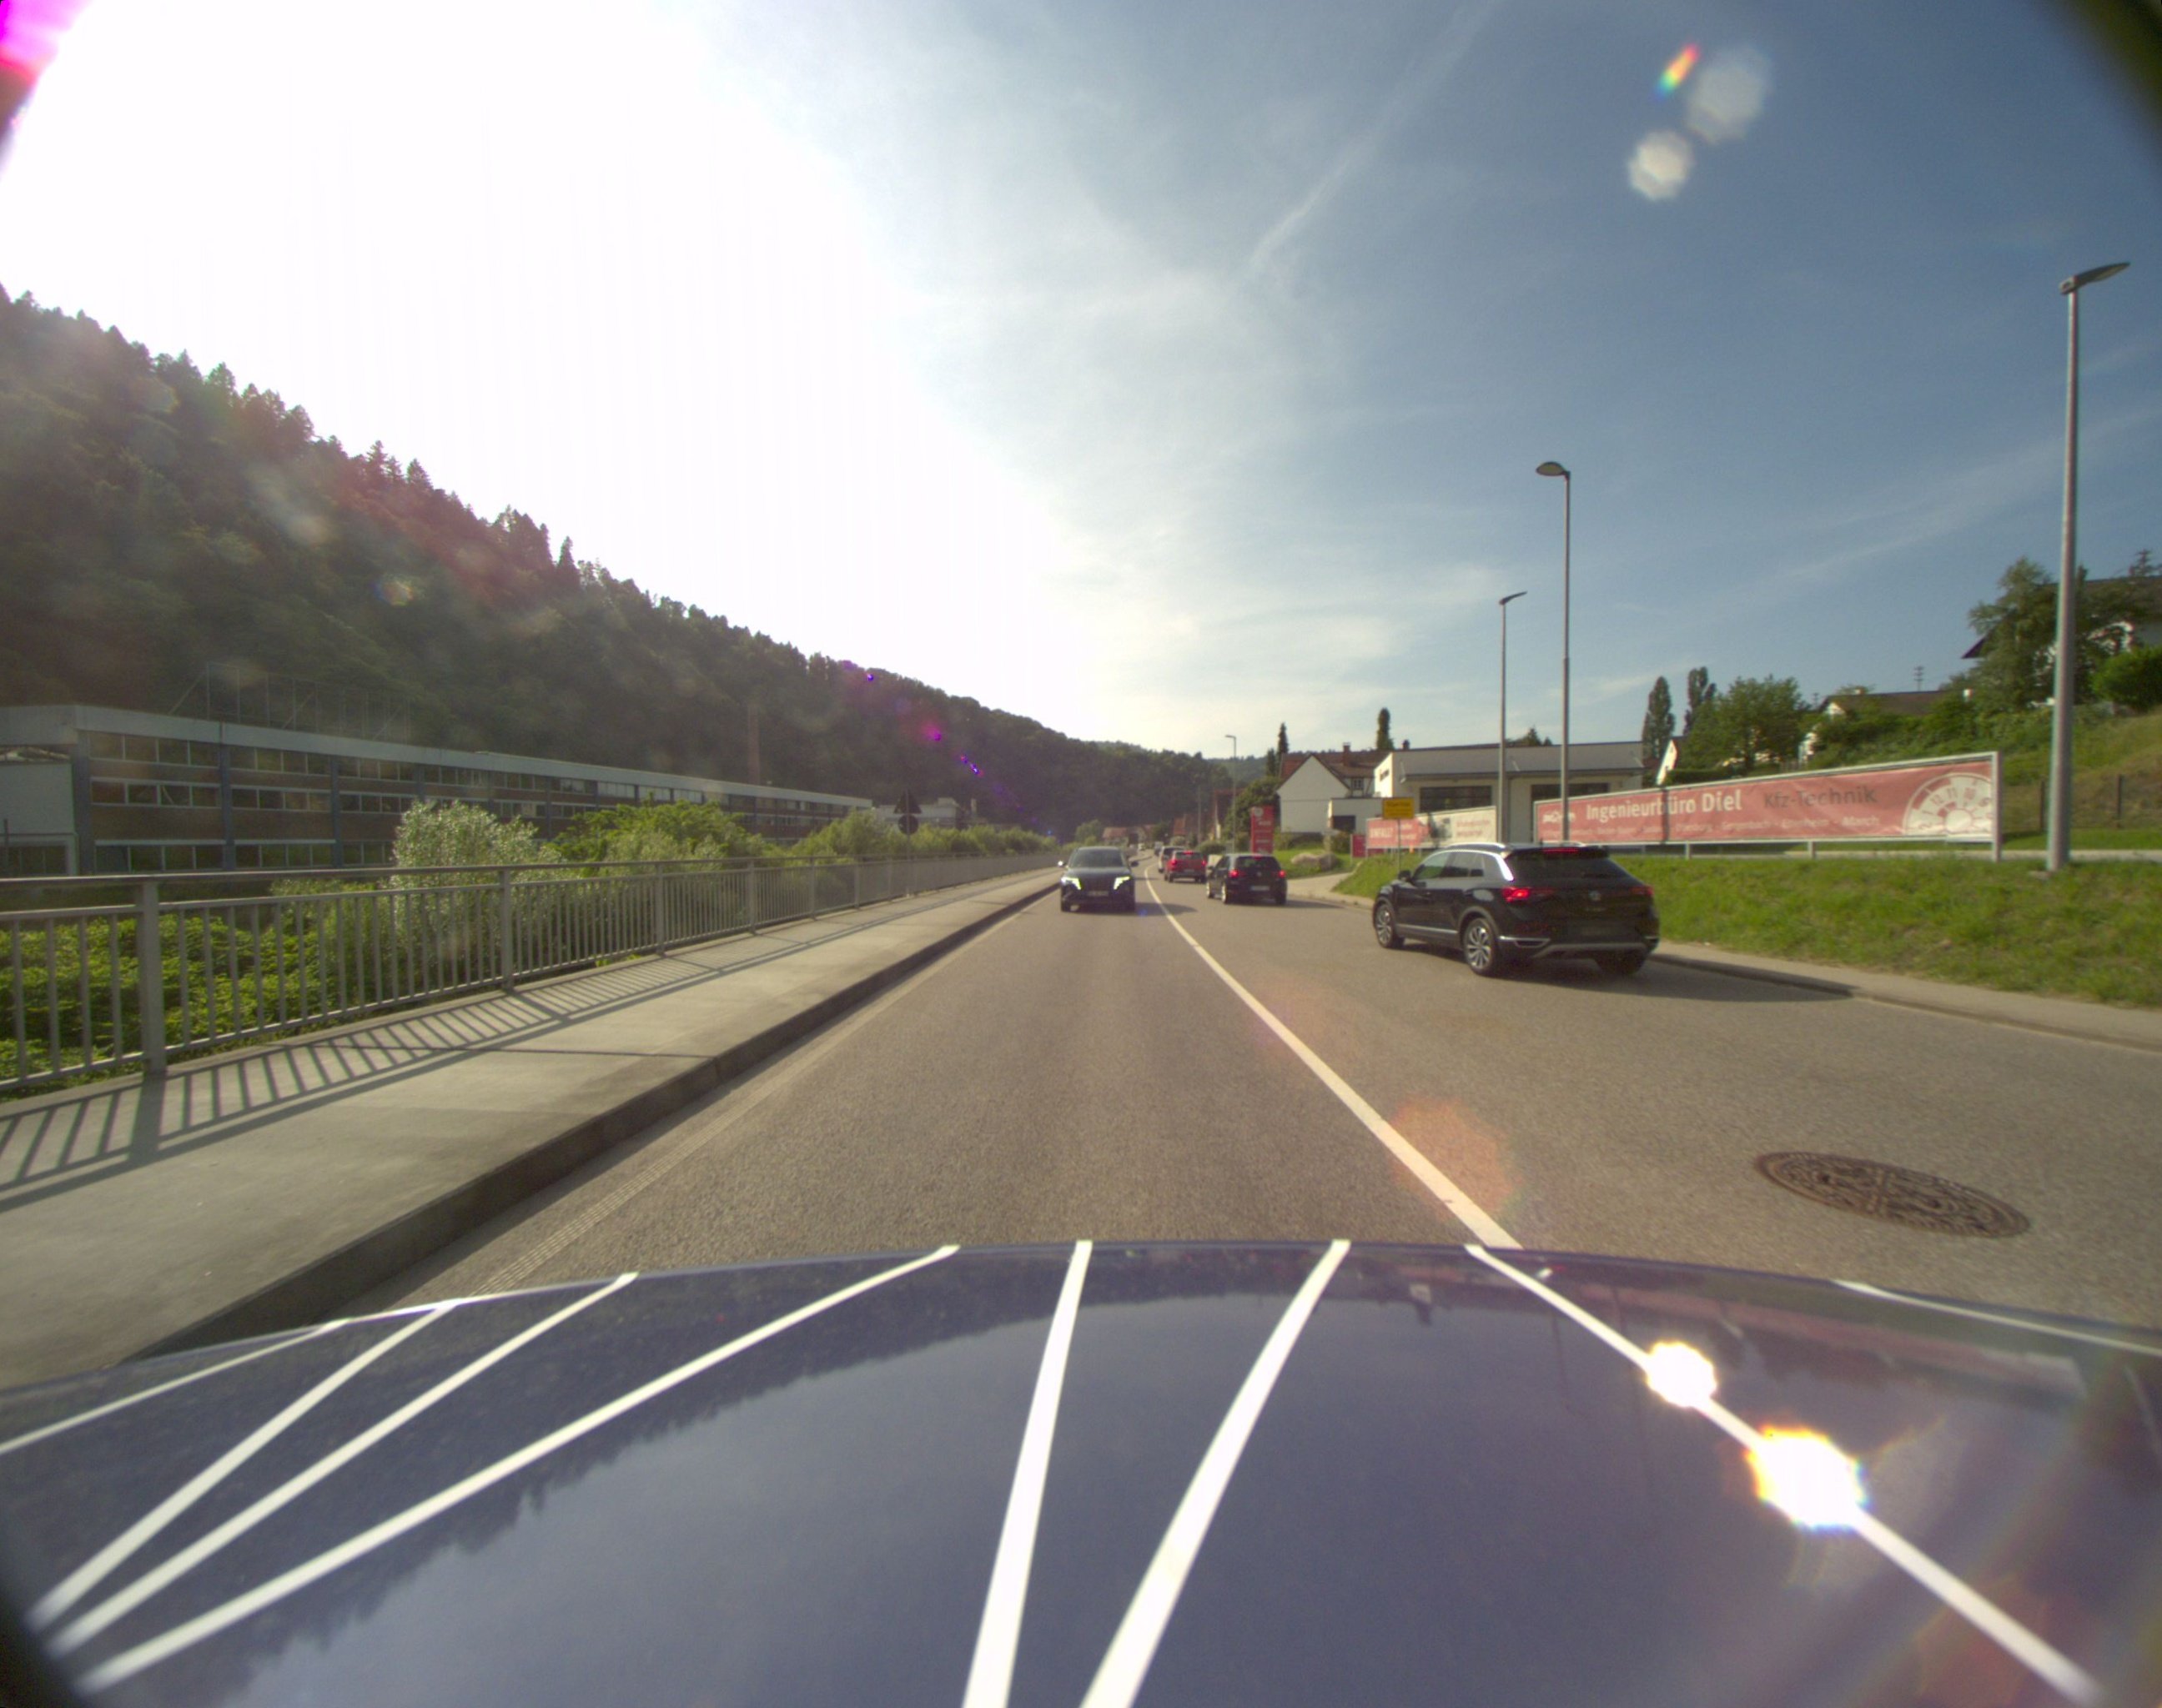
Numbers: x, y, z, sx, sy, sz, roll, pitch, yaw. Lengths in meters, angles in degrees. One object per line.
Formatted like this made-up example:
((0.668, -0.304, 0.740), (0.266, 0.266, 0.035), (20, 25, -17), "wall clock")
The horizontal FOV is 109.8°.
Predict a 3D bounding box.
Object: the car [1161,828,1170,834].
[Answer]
((24.038, -6.579, 215.564), (1.632, 1.477, 4.003), (-3, 2, 18), "car")

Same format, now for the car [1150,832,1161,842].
((17.091, -3.918, 174.321), (1.998, 2.002, 3.999), (-2, 1, 0), "car")

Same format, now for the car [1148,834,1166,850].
((7.825, -1.269, 78.335), (1.800, 1.609, 4.463), (-1, 1, 5), "car")

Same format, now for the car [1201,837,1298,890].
((4.826, 0.217, 22.396), (1.779, 1.400, 4.270), (0, 1, -2), "car")

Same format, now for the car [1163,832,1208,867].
((5.033, -0.258, 37.127), (1.710, 1.575, 4.158), (1, 2, 1), "car")

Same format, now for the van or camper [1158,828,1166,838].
((24.909, -6.497, 234.093), (2.199, 2.922, 7.128), (-2, 2, 7), "van or camper")

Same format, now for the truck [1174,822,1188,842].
((20.091, -4.462, 153.199), (2.583, 3.910, 11.307), (0, 2, 6), "truck")

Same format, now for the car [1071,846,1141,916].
((0.605, 0.626, 20.078), (1.649, 1.639, 3.999), (0, 1, 0), "car")

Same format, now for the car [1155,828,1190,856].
((6.330, -0.872, 52.981), (1.901, 1.877, 5.294), (-1, 2, 2), "car")

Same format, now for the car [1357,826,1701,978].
((5.248, 0.433, 9.721), (1.779, 1.508, 4.270), (-1, 1, -2), "car")
